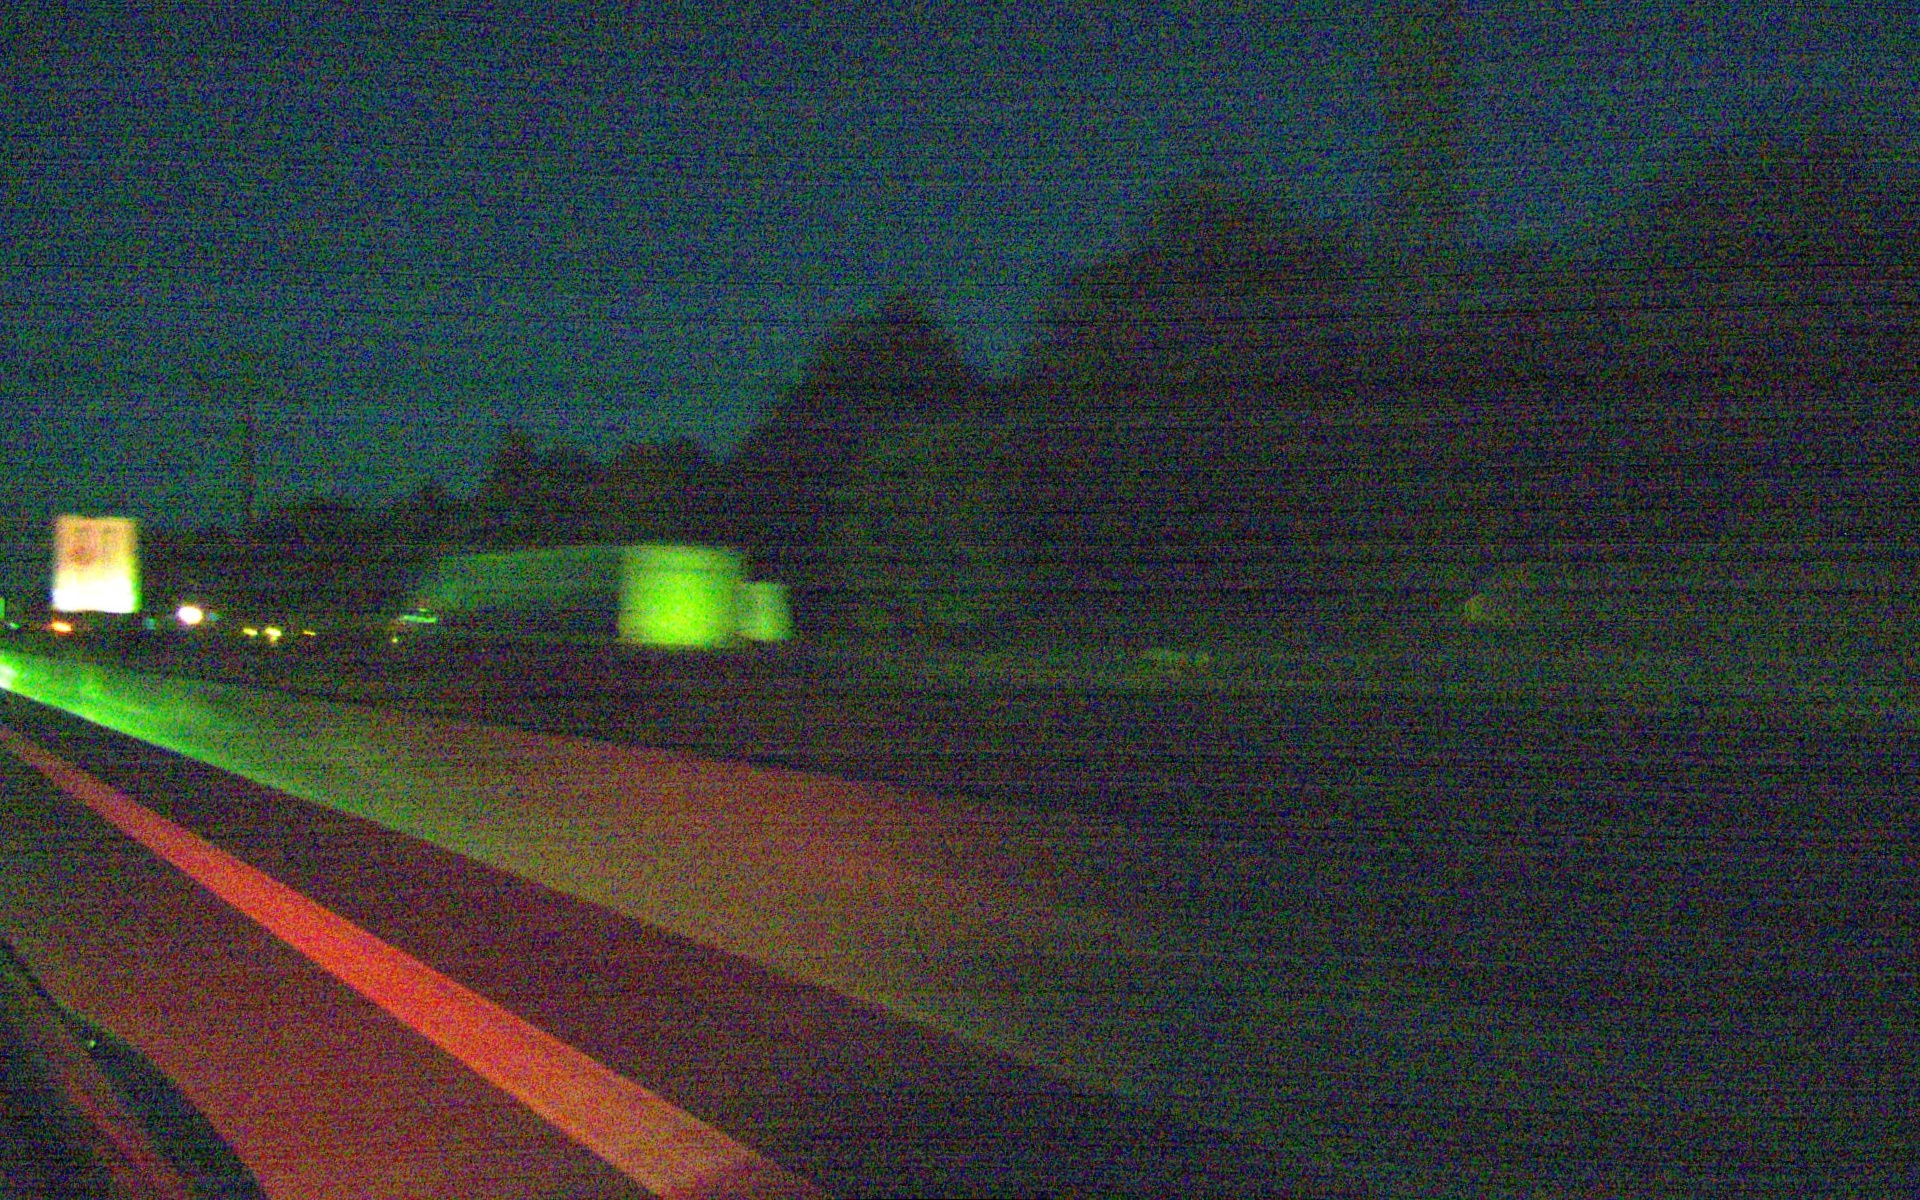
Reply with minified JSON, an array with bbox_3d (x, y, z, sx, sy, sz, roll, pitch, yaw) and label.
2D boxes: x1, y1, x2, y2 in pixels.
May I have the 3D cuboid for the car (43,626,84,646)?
[{"bbox_3d":[-68.908,2.749,77.750,4.750,1.490,1.732,-2,-4,41],"label":"car"}]

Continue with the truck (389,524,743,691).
[{"bbox_3d":[-13.404,0.477,32.451,16.971,4.235,3.080,-2,-4,42],"label":"truck"}]
